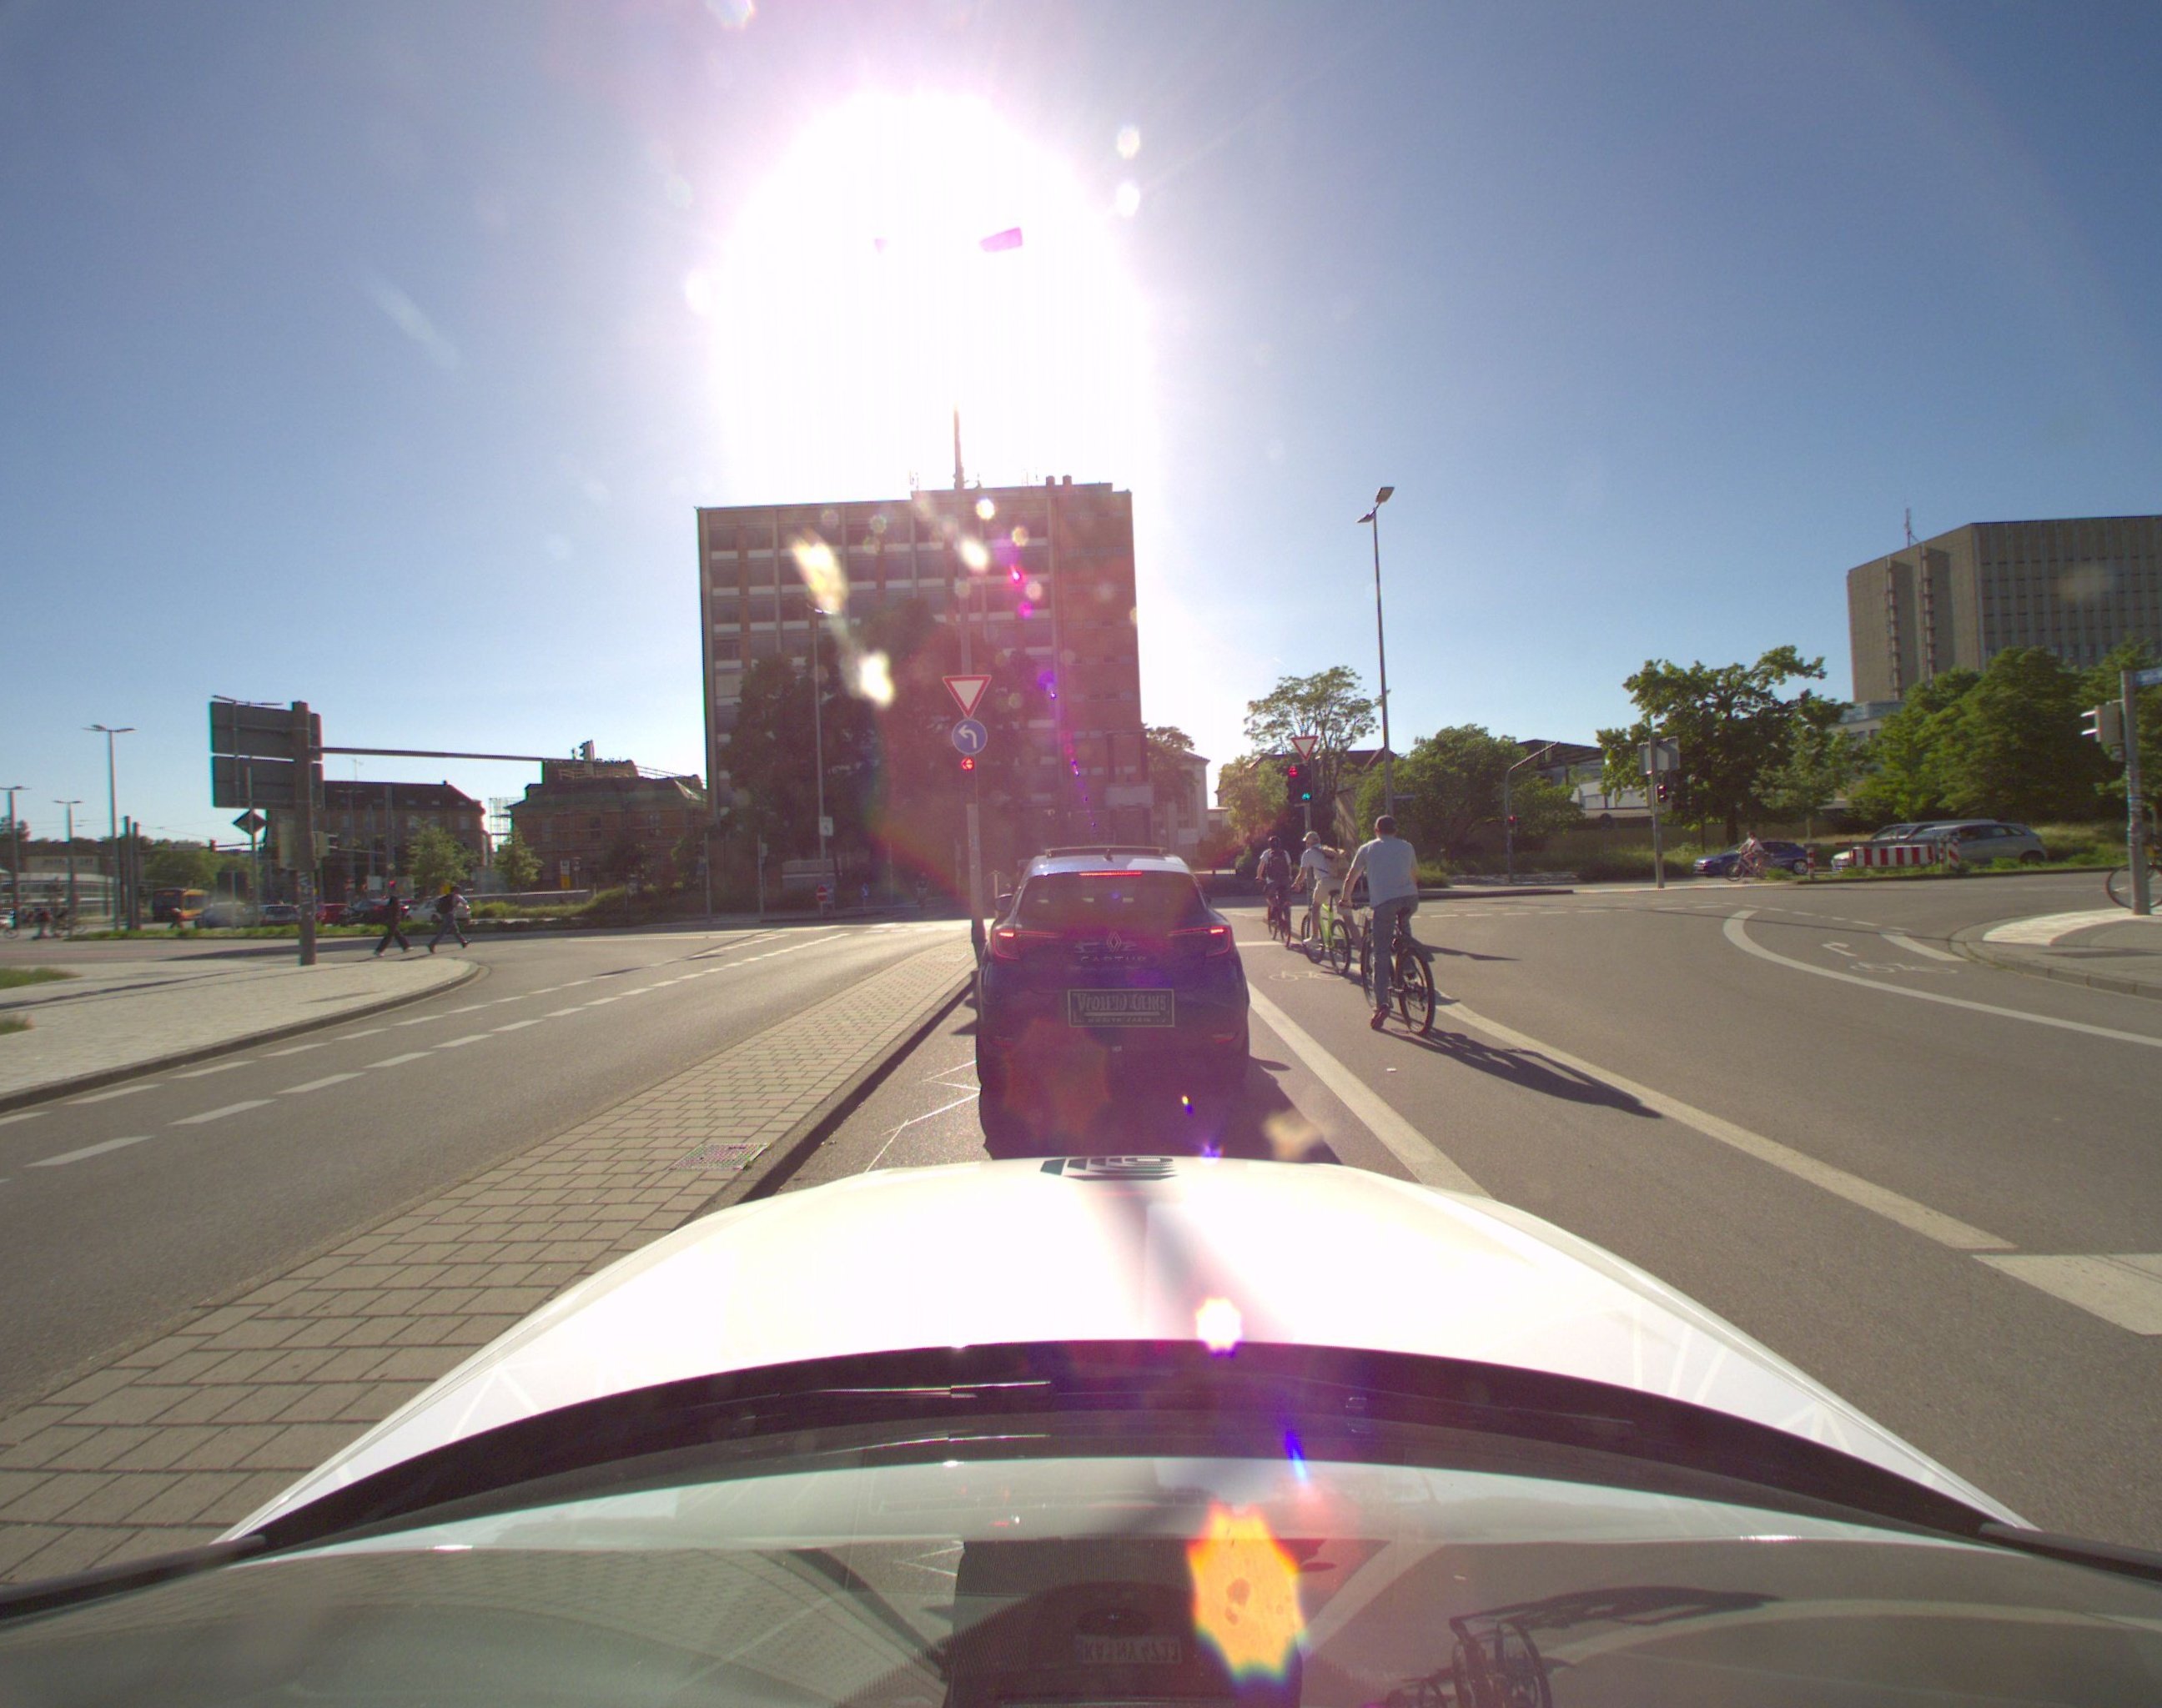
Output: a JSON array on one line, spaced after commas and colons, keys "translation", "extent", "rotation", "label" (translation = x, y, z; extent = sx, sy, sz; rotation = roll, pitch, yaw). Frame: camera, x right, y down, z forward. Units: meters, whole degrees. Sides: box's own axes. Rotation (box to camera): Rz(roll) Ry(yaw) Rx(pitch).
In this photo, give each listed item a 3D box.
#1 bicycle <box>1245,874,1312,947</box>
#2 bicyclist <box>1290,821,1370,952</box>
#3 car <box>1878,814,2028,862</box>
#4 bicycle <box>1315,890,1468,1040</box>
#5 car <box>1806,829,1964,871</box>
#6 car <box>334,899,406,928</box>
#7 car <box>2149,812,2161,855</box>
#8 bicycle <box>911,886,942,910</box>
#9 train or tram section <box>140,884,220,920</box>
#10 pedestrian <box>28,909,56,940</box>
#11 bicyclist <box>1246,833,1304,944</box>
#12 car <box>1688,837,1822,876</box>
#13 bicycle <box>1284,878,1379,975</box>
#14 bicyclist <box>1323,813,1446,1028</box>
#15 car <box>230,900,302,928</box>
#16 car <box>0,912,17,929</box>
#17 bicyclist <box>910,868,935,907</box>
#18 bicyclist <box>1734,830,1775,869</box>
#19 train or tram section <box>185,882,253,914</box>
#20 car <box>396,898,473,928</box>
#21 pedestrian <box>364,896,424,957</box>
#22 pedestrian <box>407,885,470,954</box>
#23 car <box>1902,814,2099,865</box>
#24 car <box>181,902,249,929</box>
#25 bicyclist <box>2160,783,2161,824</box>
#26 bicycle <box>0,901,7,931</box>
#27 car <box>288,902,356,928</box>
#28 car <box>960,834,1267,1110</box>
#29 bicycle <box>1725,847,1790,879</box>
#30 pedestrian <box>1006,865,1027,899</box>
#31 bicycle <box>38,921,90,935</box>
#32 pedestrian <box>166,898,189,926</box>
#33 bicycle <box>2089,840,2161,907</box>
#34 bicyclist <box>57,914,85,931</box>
[{"translation": [3.282, 0.909, 13.708], "extent": [0.687, 1.089, 1.923], "rotation": [-1, 0, 2], "label": "bicycle"}, {"translation": [3.213, 0.397, 10.581], "extent": [0.676, 1.594, 1.142], "rotation": [-1, -1, 1], "label": "bicyclist"}, {"translation": [35.869, -0.618, 33.612], "extent": [3.965, 1.749, 1.798], "rotation": [-3, -1, 7], "label": "car"}, {"translation": [2.720, 0.917, 7.373], "extent": [0.687, 1.089, 1.923], "rotation": [-1, 0, 2], "label": "bicycle"}, {"translation": [30.294, -0.136, 30.798], "extent": [3.965, 1.398, 1.798], "rotation": [-3, -1, 7], "label": "car"}, {"translation": [-42.552, 3.565, 48.748], "extent": [3.834, 1.508, 1.805], "rotation": [-3, -1, 25], "label": "car"}, {"translation": [36.899, -0.763, 25.335], "extent": [4.534, 1.398, 1.798], "rotation": [-3, -1, 7], "label": "car"}, {"translation": [-7.136, 2.018, 37.736], "extent": [0.751, 0.985, 2.098], "rotation": [-2, 0, 8], "label": "bicycle"}, {"translation": [-94.459, 4.921, 85.613], "extent": [2.710, 3.232, 10.495], "rotation": [0, -1, -31], "label": "train or tram section"}, {"translation": [-65.185, 4.429, 51.089], "extent": [0.723, 1.865, 0.883], "rotation": [-3, -1, 22], "label": "pedestrian"}, {"translation": [3.276, 0.561, 13.817], "extent": [0.697, 1.791, 1.142], "rotation": [-1, -1, 2], "label": "bicyclist"}, {"translation": [28.133, 0.105, 34.112], "extent": [3.965, 1.398, 1.798], "rotation": [-3, -1, 7], "label": "car"}, {"translation": [3.210, 0.893, 10.630], "extent": [0.687, 1.089, 1.923], "rotation": [-1, 0, 2], "label": "bicycle"}, {"translation": [2.711, 0.559, 7.395], "extent": [0.680, 1.791, 1.142], "rotation": [-1, -1, 2], "label": "bicyclist"}, {"translation": [-48.865, 3.606, 48.813], "extent": [3.834, 1.508, 1.805], "rotation": [-3, -1, 25], "label": "car"}, {"translation": [-112.082, 6.892, 84.215], "extent": [1.753, 1.651, 3.952], "rotation": [-2, -1, -42], "label": "car"}, {"translation": [-7.230, 1.501, 37.197], "extent": [0.751, 1.716, 1.001], "rotation": [-2, -1, 7], "label": "bicyclist"}, {"translation": [24.021, -0.159, 29.058], "extent": [0.870, 1.343, 0.612], "rotation": [-2, -1, 7], "label": "bicyclist"}, {"translation": [-99.934, 5.035, 94.581], "extent": [2.710, 3.232, 10.495], "rotation": [0, -1, -31], "label": "train or tram section"}, {"translation": [-36.396, 3.338, 45.843], "extent": [3.834, 1.508, 1.805], "rotation": [-3, -1, 25], "label": "car"}, {"translation": [-18.332, 1.922, 21.745], "extent": [0.647, 1.527, 0.984], "rotation": [-3, -1, 15], "label": "pedestrian"}, {"translation": [-16.851, 1.702, 21.374], "extent": [0.647, 1.730, 1.066], "rotation": [-3, -1, 15], "label": "pedestrian"}, {"translation": [29.218, -0.434, 26.006], "extent": [3.965, 1.398, 1.798], "rotation": [-3, -1, 7], "label": "car"}, {"translation": [-54.914, 3.894, 51.645], "extent": [3.834, 1.508, 1.805], "rotation": [-3, -1, 25], "label": "car"}, {"translation": [16.024, -0.226, 11.478], "extent": [0.635, 1.646, 0.903], "rotation": [-2, -1, -39], "label": "bicyclist"}, {"translation": [-73.648, 4.196, 53.033], "extent": [4.019, 2.013, 1.977], "rotation": [-2, -1, -37], "label": "bicycle"}, {"translation": [-48.208, 3.872, 51.717], "extent": [3.834, 1.508, 1.805], "rotation": [-3, -1, 25], "label": "car"}, {"translation": [0.195, 0.704, 6.772], "extent": [1.783, 1.585, 3.913], "rotation": [-1, 0, 0], "label": "car"}, {"translation": [24.104, 0.323, 29.045], "extent": [1.673, 1.033, 0.612], "rotation": [-2, -1, 7], "label": "bicycle"}, {"translation": [-3.603, 1.549, 45.324], "extent": [0.807, 1.862, 0.913], "rotation": [-3, -1, 15], "label": "pedestrian"}, {"translation": [-76.185, 5.535, 61.008], "extent": [0.887, 0.883, 2.250], "rotation": [-3, 0, 13], "label": "bicycle"}, {"translation": [-62.395, 4.007, 56.260], "extent": [0.722, 1.865, 0.884], "rotation": [-3, -1, 27], "label": "pedestrian"}, {"translation": [15.912, 0.268, 11.632], "extent": [0.640, 0.958, 1.866], "rotation": [-2, -1, -39], "label": "bicycle"}, {"translation": [-76.120, 5.148, 61.378], "extent": [0.887, 1.166, 0.971], "rotation": [-3, -1, 13], "label": "bicyclist"}]
